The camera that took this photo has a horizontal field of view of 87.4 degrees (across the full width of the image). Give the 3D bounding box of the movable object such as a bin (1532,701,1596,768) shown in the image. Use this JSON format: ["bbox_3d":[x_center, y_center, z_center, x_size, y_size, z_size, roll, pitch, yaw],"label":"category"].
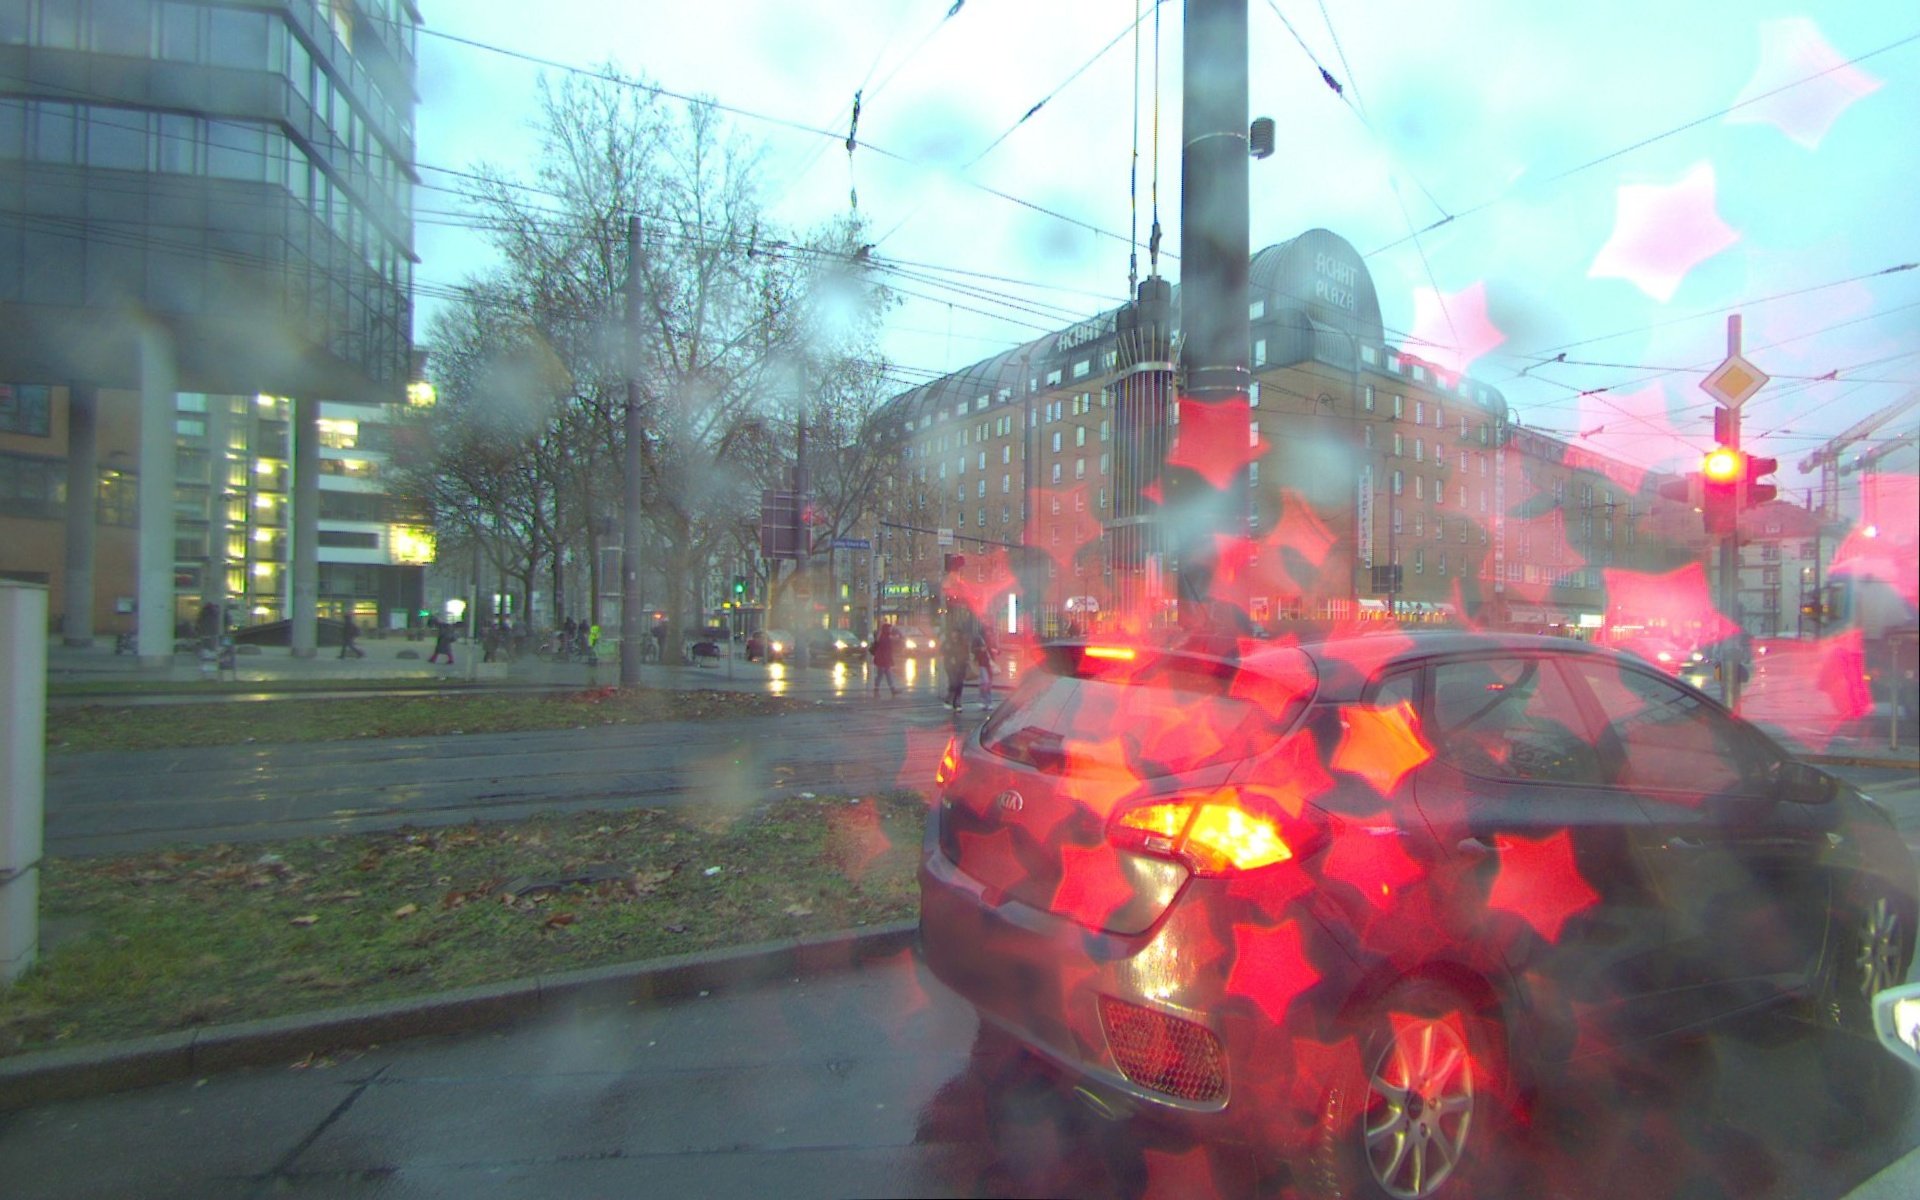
[{"bbox_3d":[6.834,1.519,11.379,0.527,0.708,0.413,0,-3,16],"label":"movable object such as a bin"}]

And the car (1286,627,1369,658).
[{"bbox_3d":[18.339,2.087,50.270,1.683,1.478,3.728,1,-2,-29],"label":"car"}]

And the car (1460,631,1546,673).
[{"bbox_3d":[20.039,1.878,37.239,1.676,1.467,4.003,0,-1,11],"label":"car"}]

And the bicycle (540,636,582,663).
[{"bbox_3d":[-16.354,2.025,41.172,1.564,1.088,0.451,1,-2,-20],"label":"bicycle"}]

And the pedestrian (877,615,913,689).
[{"bbox_3d":[-1.367,1.082,21.085,0.724,1.519,0.676,1,-1,-4],"label":"pedestrian"}]

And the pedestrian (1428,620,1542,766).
[{"bbox_3d":[6.100,1.068,11.730,1.016,1.621,0.716,-1,-3,15],"label":"pedestrian"}]

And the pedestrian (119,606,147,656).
[{"bbox_3d":[-27.649,1.036,33.598,0.670,1.629,0.449,1,-2,-38],"label":"pedestrian"}]

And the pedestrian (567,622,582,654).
[{"bbox_3d":[-19.293,1.906,50.273,0.637,1.577,0.765,1,-1,-22],"label":"pedestrian"}]

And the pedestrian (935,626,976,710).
[{"bbox_3d":[-0.088,1.267,18.921,0.635,1.532,0.560,1,-1,-18],"label":"pedestrian"}]

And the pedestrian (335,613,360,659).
[{"bbox_3d":[-22.960,1.348,37.652,0.776,1.734,0.650,1,-2,-32],"label":"pedestrian"}]

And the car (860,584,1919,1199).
[{"bbox_3d":[1.755,0.755,3.616,3.894,1.544,1.622,0,1,-30],"label":"car"}]

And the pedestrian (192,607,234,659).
[{"bbox_3d":[-25.235,1.103,33.940,0.772,1.734,1.008,1,-2,-15],"label":"pedestrian"}]

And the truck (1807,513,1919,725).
[{"bbox_3d":[18.757,0.384,18.608,2.795,3.681,7.521,0,-1,25],"label":"truck"}]

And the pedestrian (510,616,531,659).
[{"bbox_3d":[-18.943,1.602,43.263,0.719,1.840,0.773,1,-1,-30],"label":"pedestrian"}]

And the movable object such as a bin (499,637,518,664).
[{"bbox_3d":[-17.258,1.928,38.411,0.637,1.048,0.572,1,-1,-23],"label":"movable object such as a bin"}]

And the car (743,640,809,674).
[{"bbox_3d":[-8.744,2.658,47.550,1.975,1.483,3.970,1,-2,-28],"label":"car"}]

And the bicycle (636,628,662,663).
[{"bbox_3d":[-12.259,1.787,39.542,0.624,1.336,2.296,1,-2,-25],"label":"bicycle"}]

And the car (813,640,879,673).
[{"bbox_3d":[-5.808,2.812,50.632,1.975,1.483,3.970,1,-2,-28],"label":"car"}]

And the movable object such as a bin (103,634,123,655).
[{"bbox_3d":[-28.049,1.481,33.264,0.481,0.698,0.353,2,-2,-38],"label":"movable object such as a bin"}]

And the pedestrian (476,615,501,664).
[{"bbox_3d":[-17.909,1.486,38.146,0.778,1.828,0.868,1,-1,-22],"label":"pedestrian"}]

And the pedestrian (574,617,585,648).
[{"bbox_3d":[-25.398,2.184,67.053,0.568,2.040,0.583,1,-2,-16],"label":"pedestrian"}]

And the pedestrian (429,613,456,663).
[{"bbox_3d":[-18.813,1.366,36.517,0.811,1.797,0.568,1,-2,-29],"label":"pedestrian"}]

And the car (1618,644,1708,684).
[{"bbox_3d":[30.968,2.780,44.383,1.960,1.572,4.080,0,-2,15],"label":"car"}]

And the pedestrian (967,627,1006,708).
[{"bbox_3d":[0.500,1.290,19.360,0.604,1.532,0.519,1,-1,-18],"label":"pedestrian"}]

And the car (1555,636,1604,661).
[{"bbox_3d":[42.789,3.319,69.338,3.973,1.692,1.974,2,-2,-44],"label":"car"}]

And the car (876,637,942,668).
[{"bbox_3d":[-2.702,2.711,52.579,1.975,1.483,3.970,1,-2,-28],"label":"car"}]
